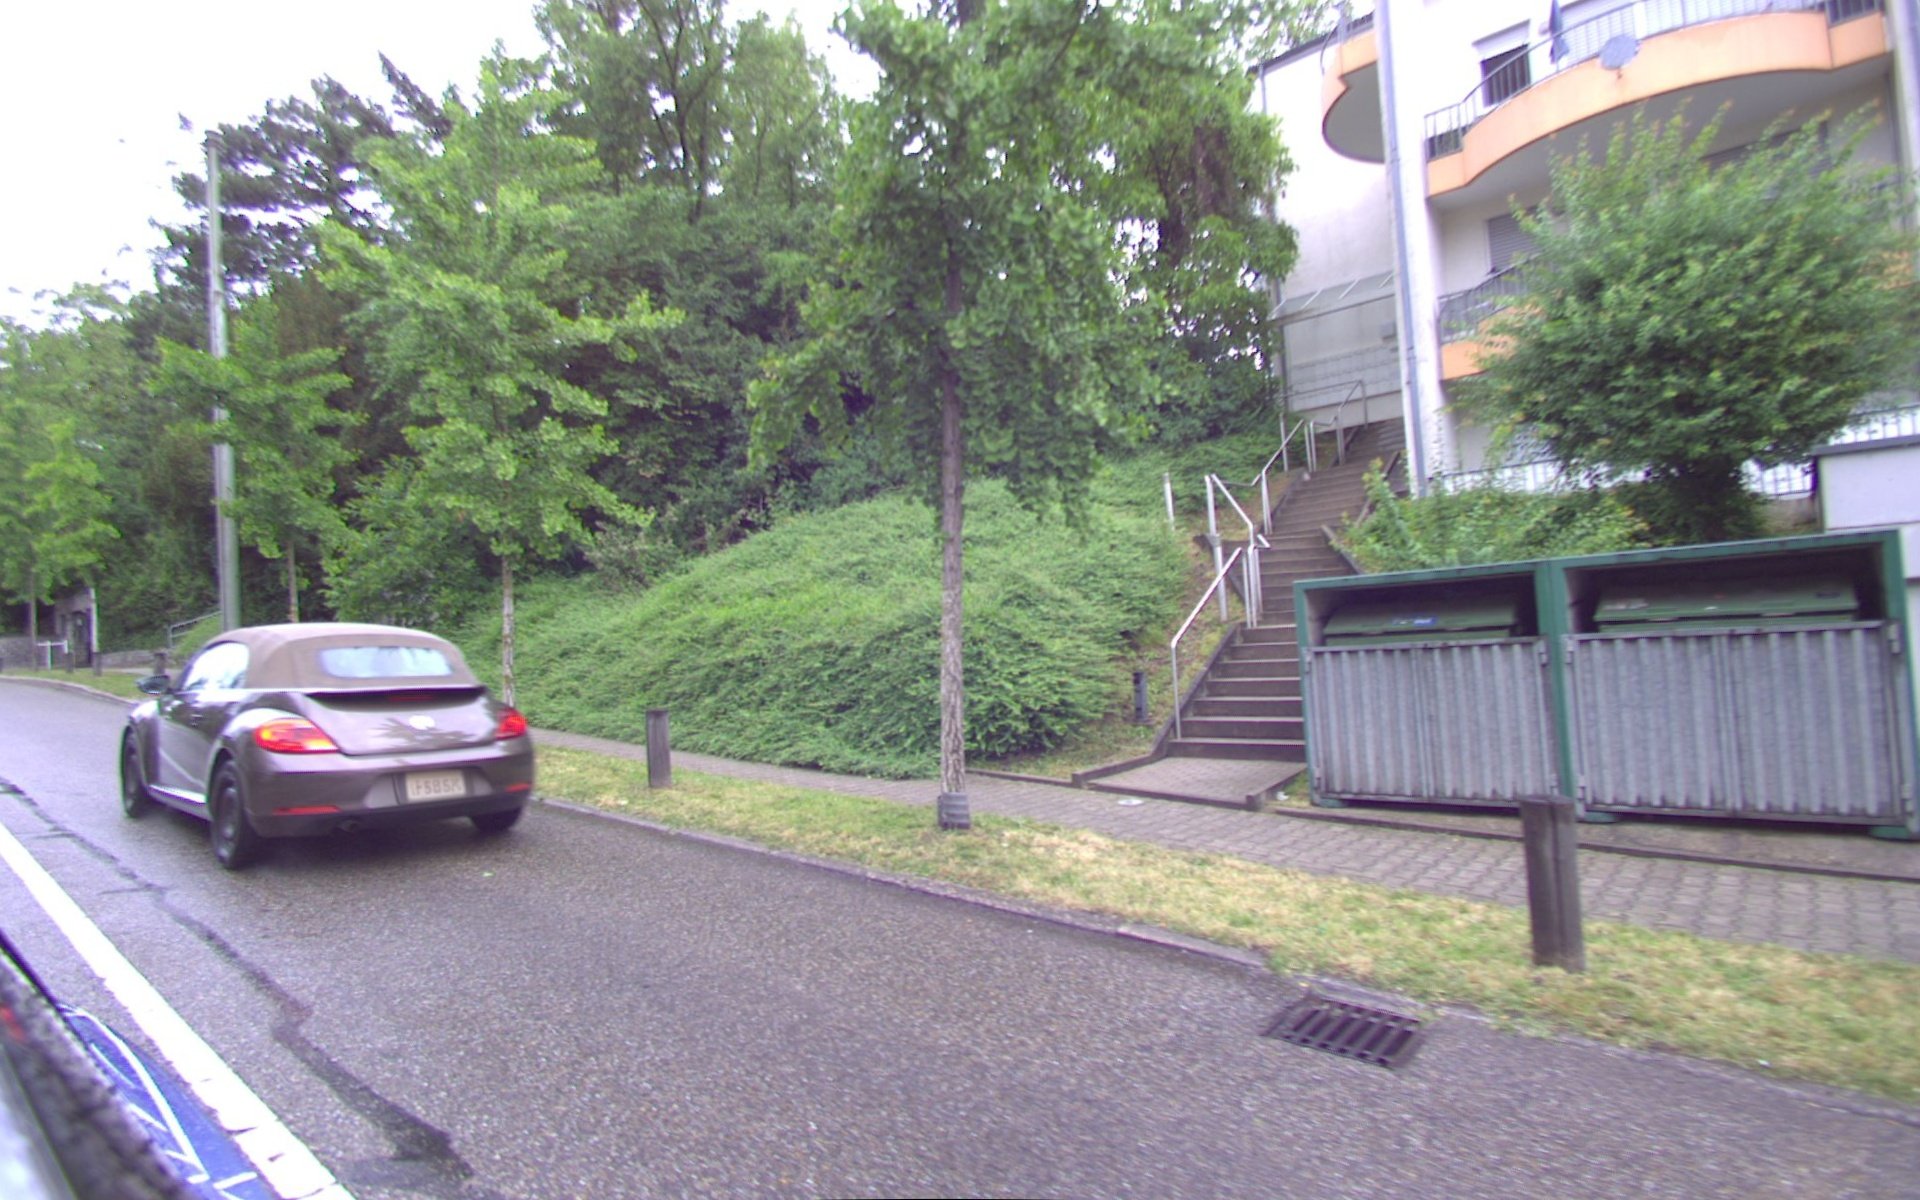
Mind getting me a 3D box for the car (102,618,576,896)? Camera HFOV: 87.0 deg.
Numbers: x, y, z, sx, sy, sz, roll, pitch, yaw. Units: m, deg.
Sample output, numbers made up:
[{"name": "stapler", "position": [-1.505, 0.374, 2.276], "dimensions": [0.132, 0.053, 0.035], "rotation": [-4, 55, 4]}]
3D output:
[{"name": "car", "position": [-4.628, 0.896, 7.316], "dimensions": [3.997, 1.459, 1.759], "rotation": [-2, -3, 41]}]
